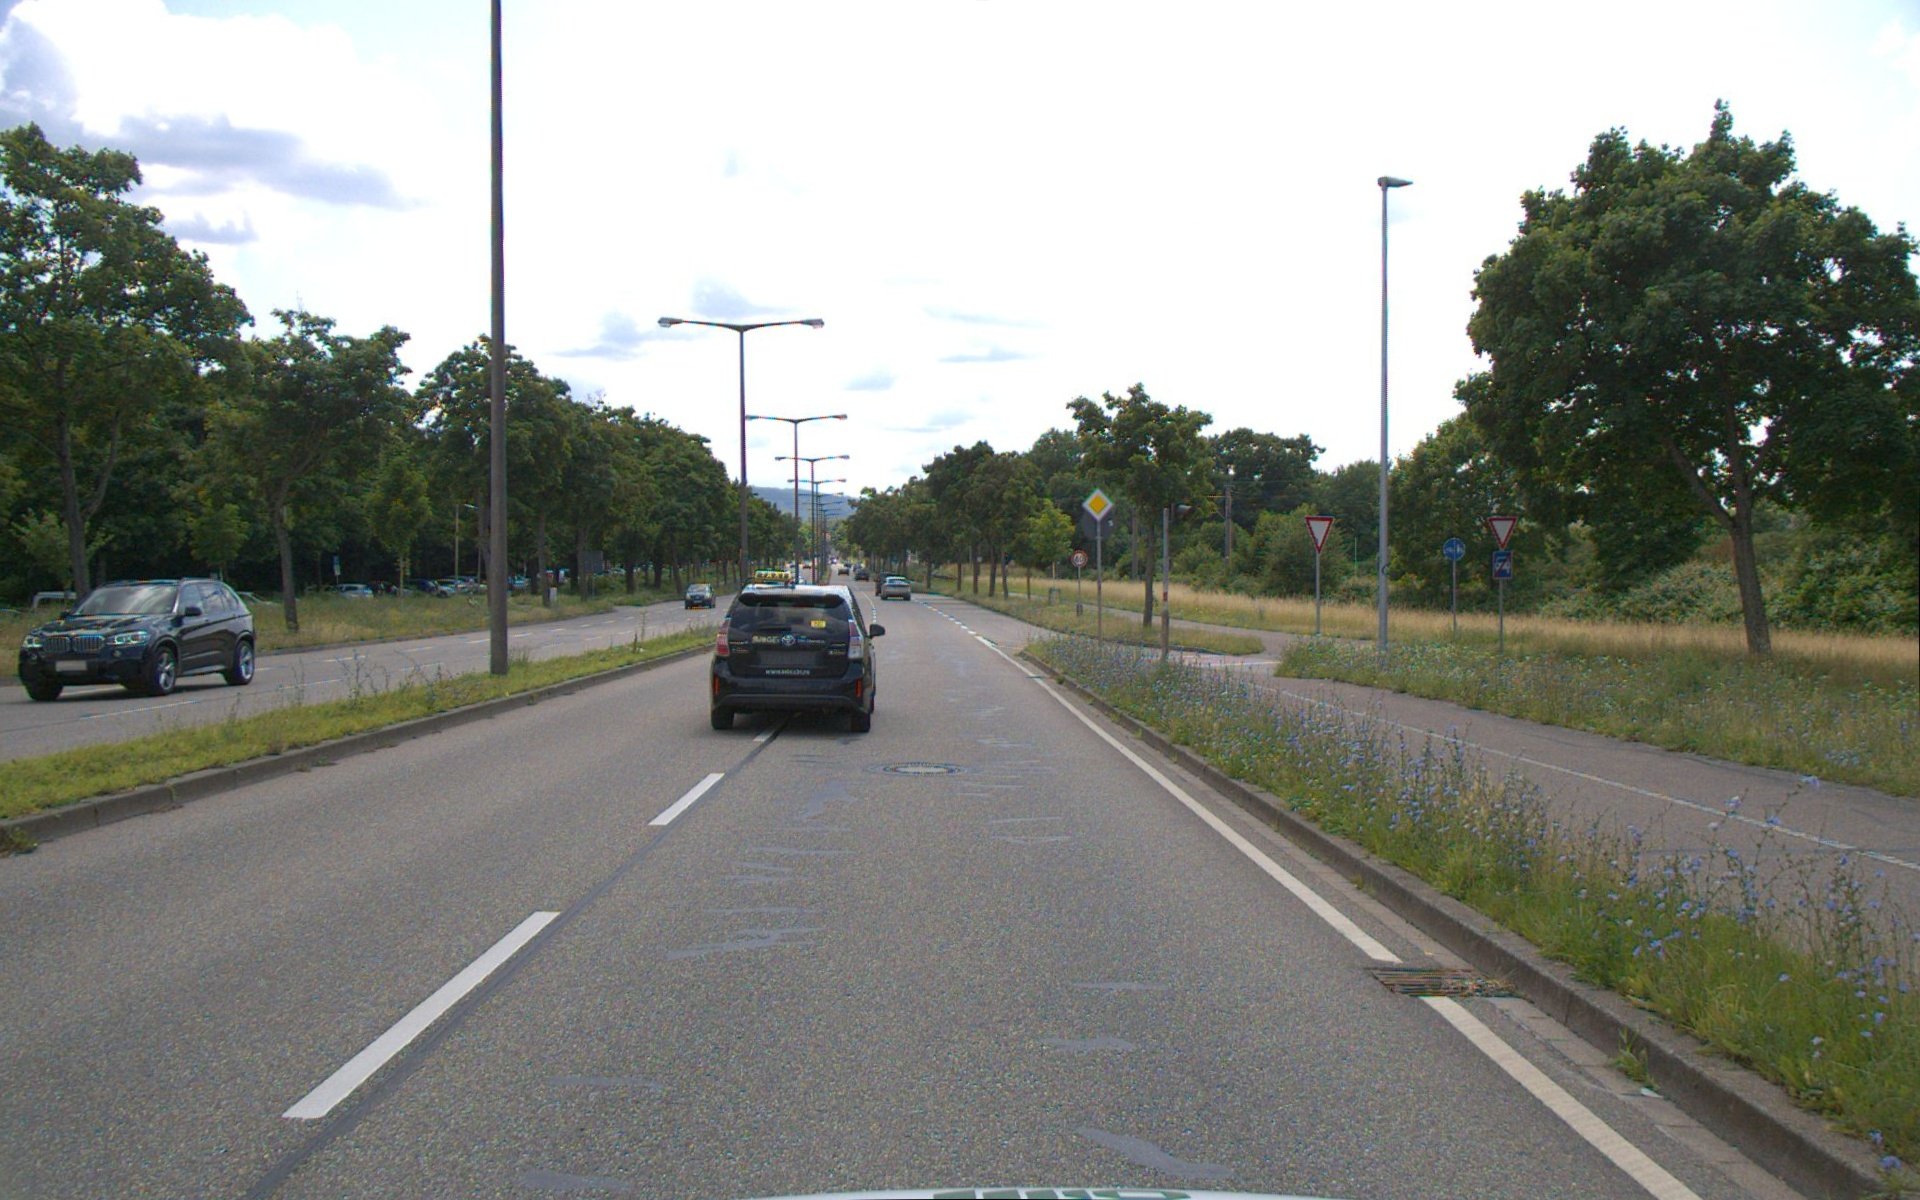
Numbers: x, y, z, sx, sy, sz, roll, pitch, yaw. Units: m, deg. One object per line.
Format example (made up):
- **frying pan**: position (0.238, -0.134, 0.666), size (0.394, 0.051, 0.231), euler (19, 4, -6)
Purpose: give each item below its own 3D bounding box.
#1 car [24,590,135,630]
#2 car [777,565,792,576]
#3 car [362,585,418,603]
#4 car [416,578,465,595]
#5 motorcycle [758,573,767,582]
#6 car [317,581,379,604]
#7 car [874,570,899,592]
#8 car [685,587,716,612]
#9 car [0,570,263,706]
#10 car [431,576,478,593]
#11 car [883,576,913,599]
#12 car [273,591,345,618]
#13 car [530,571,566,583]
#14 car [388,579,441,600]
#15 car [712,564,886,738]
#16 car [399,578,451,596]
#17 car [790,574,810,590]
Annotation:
- **car**: position (-39.764, 0.430, 74.756), size (3.910, 1.653, 1.998), euler (1, 2, -6)
- **car**: position (-24.997, -4.198, 235.598), size (1.841, 1.534, 3.798), euler (1, 2, 0)
- **car**: position (-43.837, -0.473, 127.154), size (3.710, 1.269, 1.784), euler (1, 2, -4)
- **car**: position (-45.201, -1.165, 143.908), size (3.707, 1.412, 1.786), euler (1, 2, 0)
- **motorcycle**: position (-19.891, -2.257, 166.583), size (0.736, 0.785, 2.670), euler (1, 2, -3)
- **car**: position (-43.235, -0.540, 116.880), size (3.710, 1.453, 1.784), euler (1, 2, -4)
- **car**: position (-5.954, -1.545, 134.415), size (1.954, 1.690, 3.999), euler (1, 2, -3)
- **car**: position (-15.387, -0.023, 97.995), size (1.671, 1.452, 3.664), euler (0, 0, -12)
- **car**: position (-12.588, 0.513, 25.441), size (1.839, 1.821, 4.726), euler (-2, 0, -2)
- **car**: position (-45.802, -1.432, 149.992), size (3.707, 1.412, 1.786), euler (1, 2, 0)
- **car**: position (-4.539, -0.885, 119.863), size (1.955, 1.534, 3.997), euler (1, 2, -5)
- **car**: position (-40.064, 0.274, 101.763), size (3.709, 1.534, 1.785), euler (1, 2, -2)
- **car**: position (-48.876, -2.736, 196.205), size (3.707, 1.412, 1.786), euler (1, 2, 0)
- **car**: position (-44.437, -0.874, 134.683), size (3.707, 1.595, 1.786), euler (1, 2, 0)
- **car**: position (-1.752, 0.483, 18.942), size (1.744, 1.713, 3.998), euler (1, 2, -3)
- **car**: position (-44.952, -1.084, 138.960), size (3.707, 1.412, 1.786), euler (1, 2, 0)
- **car**: position (-15.980, -1.819, 165.144), size (1.774, 1.422, 4.731), euler (0, 2, -3)
